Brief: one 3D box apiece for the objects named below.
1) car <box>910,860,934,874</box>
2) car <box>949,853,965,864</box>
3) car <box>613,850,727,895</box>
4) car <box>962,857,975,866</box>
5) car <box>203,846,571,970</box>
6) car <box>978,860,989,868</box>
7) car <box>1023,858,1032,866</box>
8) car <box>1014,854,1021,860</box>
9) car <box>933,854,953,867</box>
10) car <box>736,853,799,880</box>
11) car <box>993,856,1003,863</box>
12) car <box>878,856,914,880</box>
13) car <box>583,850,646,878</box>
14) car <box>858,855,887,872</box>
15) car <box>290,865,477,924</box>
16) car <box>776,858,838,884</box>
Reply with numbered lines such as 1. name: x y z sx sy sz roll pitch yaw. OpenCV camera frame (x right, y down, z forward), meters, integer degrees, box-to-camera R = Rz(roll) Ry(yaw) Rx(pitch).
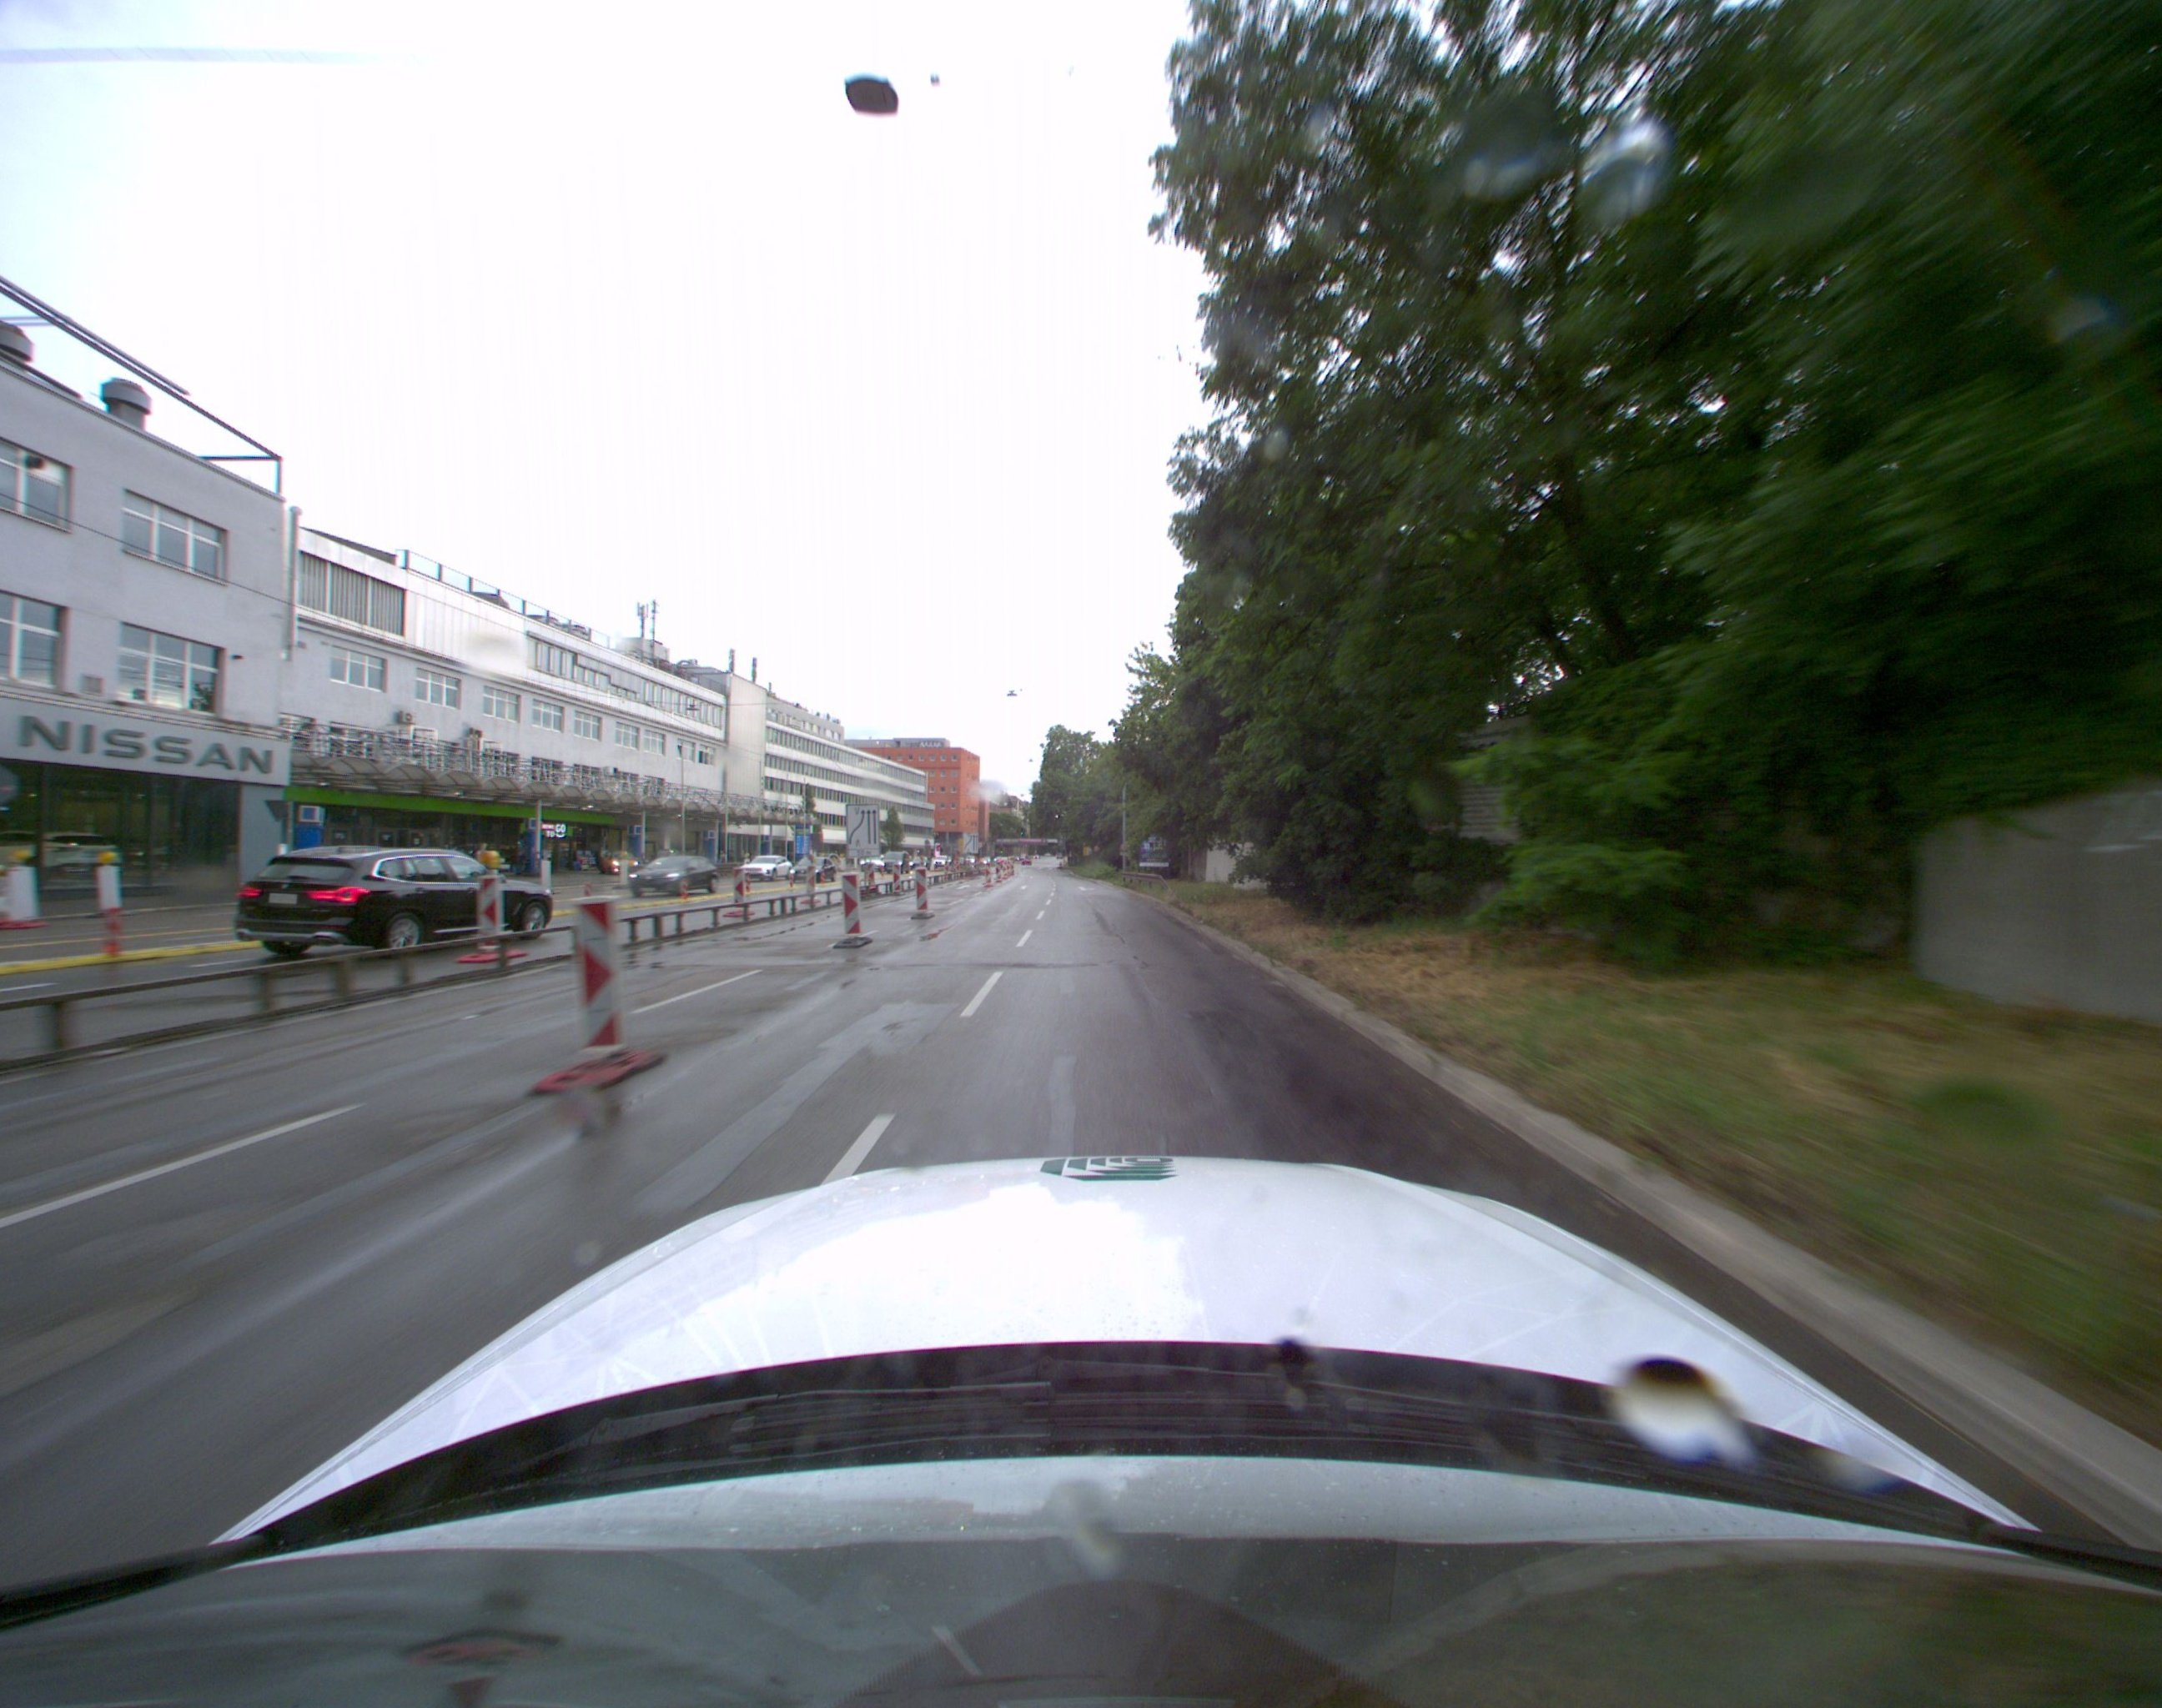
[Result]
1. car: -17.050 1.347 87.627 1.846 1.466 4.703 0 0 -2
2. car: -18.458 0.692 121.416 1.954 1.521 4.296 1 0 -3
3. car: -15.031 0.637 30.099 1.777 1.508 4.524 0 0 2
4. car: -21.652 1.512 156.777 1.975 1.707 4.825 1 0 -3
5. car: -11.063 0.724 13.588 1.940 1.597 4.673 3 1 2
6. car: -17.876 1.774 149.992 1.732 1.404 4.284 1 0 -3
7. car: -11.487 1.711 174.732 1.758 1.697 3.704 0 0 -1
8. car: -18.010 0.839 231.272 1.728 1.786 4.301 0 0 0
9. car: -17.612 0.806 103.793 1.934 1.689 4.575 0 0 -3
10. car: -18.389 0.686 47.977 1.777 1.508 4.524 0 0 2
11. car: -20.238 1.329 197.812 1.801 1.558 4.303 1 0 2
12. car: -15.928 1.155 70.295 1.988 1.936 5.227 -1 0 -2
13. car: -30.432 0.670 53.081 4.388 1.770 1.980 -1 0 38
14. car: -19.676 0.907 77.116 1.742 1.585 4.262 0 0 -1
15. car: -18.561 1.021 21.921 1.727 1.414 3.710 0 0 2
16. car: -15.301 0.900 45.739 1.791 1.351 4.812 0 0 1
